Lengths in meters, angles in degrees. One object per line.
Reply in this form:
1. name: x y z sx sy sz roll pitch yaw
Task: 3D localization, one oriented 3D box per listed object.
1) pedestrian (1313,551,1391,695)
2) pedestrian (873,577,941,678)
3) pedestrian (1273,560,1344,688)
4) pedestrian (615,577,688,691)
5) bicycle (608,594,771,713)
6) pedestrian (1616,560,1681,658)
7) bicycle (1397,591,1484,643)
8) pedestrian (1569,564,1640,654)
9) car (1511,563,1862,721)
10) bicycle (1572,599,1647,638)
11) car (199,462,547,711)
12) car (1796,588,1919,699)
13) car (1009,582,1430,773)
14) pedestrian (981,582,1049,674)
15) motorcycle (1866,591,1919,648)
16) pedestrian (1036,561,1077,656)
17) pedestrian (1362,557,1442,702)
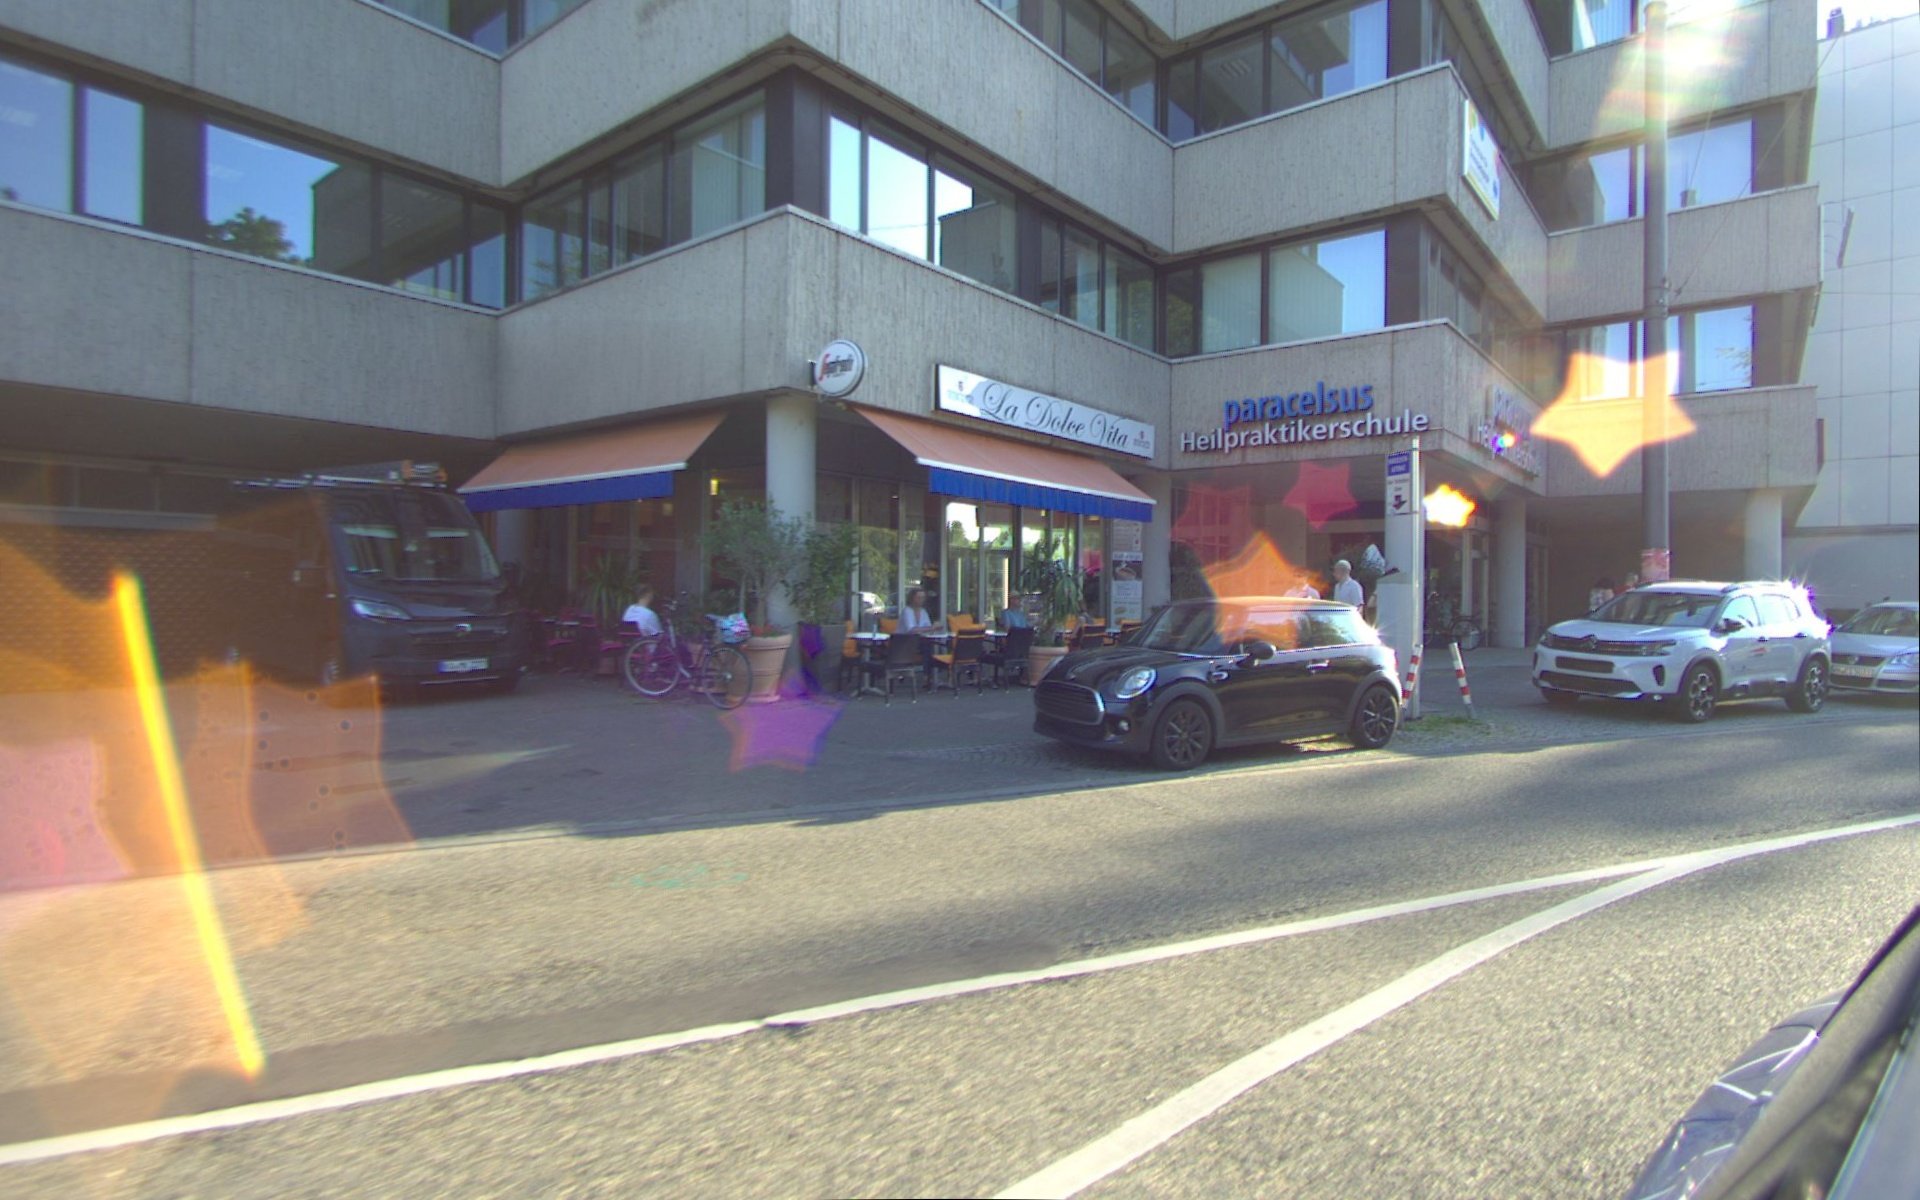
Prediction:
1. pedestrian: 5.292 0.286 13.682 0.648 1.880 0.626 0 3 -24
2. pedestrian: -0.717 0.353 13.698 0.648 1.297 0.654 2 2 35
3. pedestrian: 4.953 0.321 14.402 0.648 1.761 0.626 0 3 -24
4. pedestrian: -3.704 0.384 12.152 0.551 1.297 0.644 2 2 37
5. bicycle: -2.973 0.547 11.066 1.798 1.132 0.530 3 2 26
6. pedestrian: 12.793 0.149 18.802 1.014 1.748 0.699 0 1 -39
7. bicycle: 10.925 0.370 23.035 1.741 1.085 0.479 3 2 26
8. pedestrian: 12.586 0.159 19.768 0.630 1.694 0.991 0 1 -39
9. car: 9.556 0.449 13.274 4.413 1.734 1.877 0 3 -27
10. bicycle: 19.916 0.547 31.076 0.475 1.087 1.869 1 2 -38
11. car: -7.432 -0.258 12.549 5.310 2.472 2.062 3 3 40
12. car: 14.607 0.603 15.139 3.774 1.459 1.671 0 3 -24
13. car: 2.517 0.612 9.732 3.745 1.459 1.670 0 3 -28
14. pedestrian: 0.818 0.393 15.017 0.764 1.297 0.653 3 2 37
15. motorcycle: 23.587 0.487 24.921 0.572 1.347 1.788 0 2 -37
16. pedestrian: 1.837 0.153 19.338 0.596 1.782 0.513 -1 -1 42
17. pedestrian: 5.615 0.351 12.870 0.648 1.781 0.582 0 3 -24
